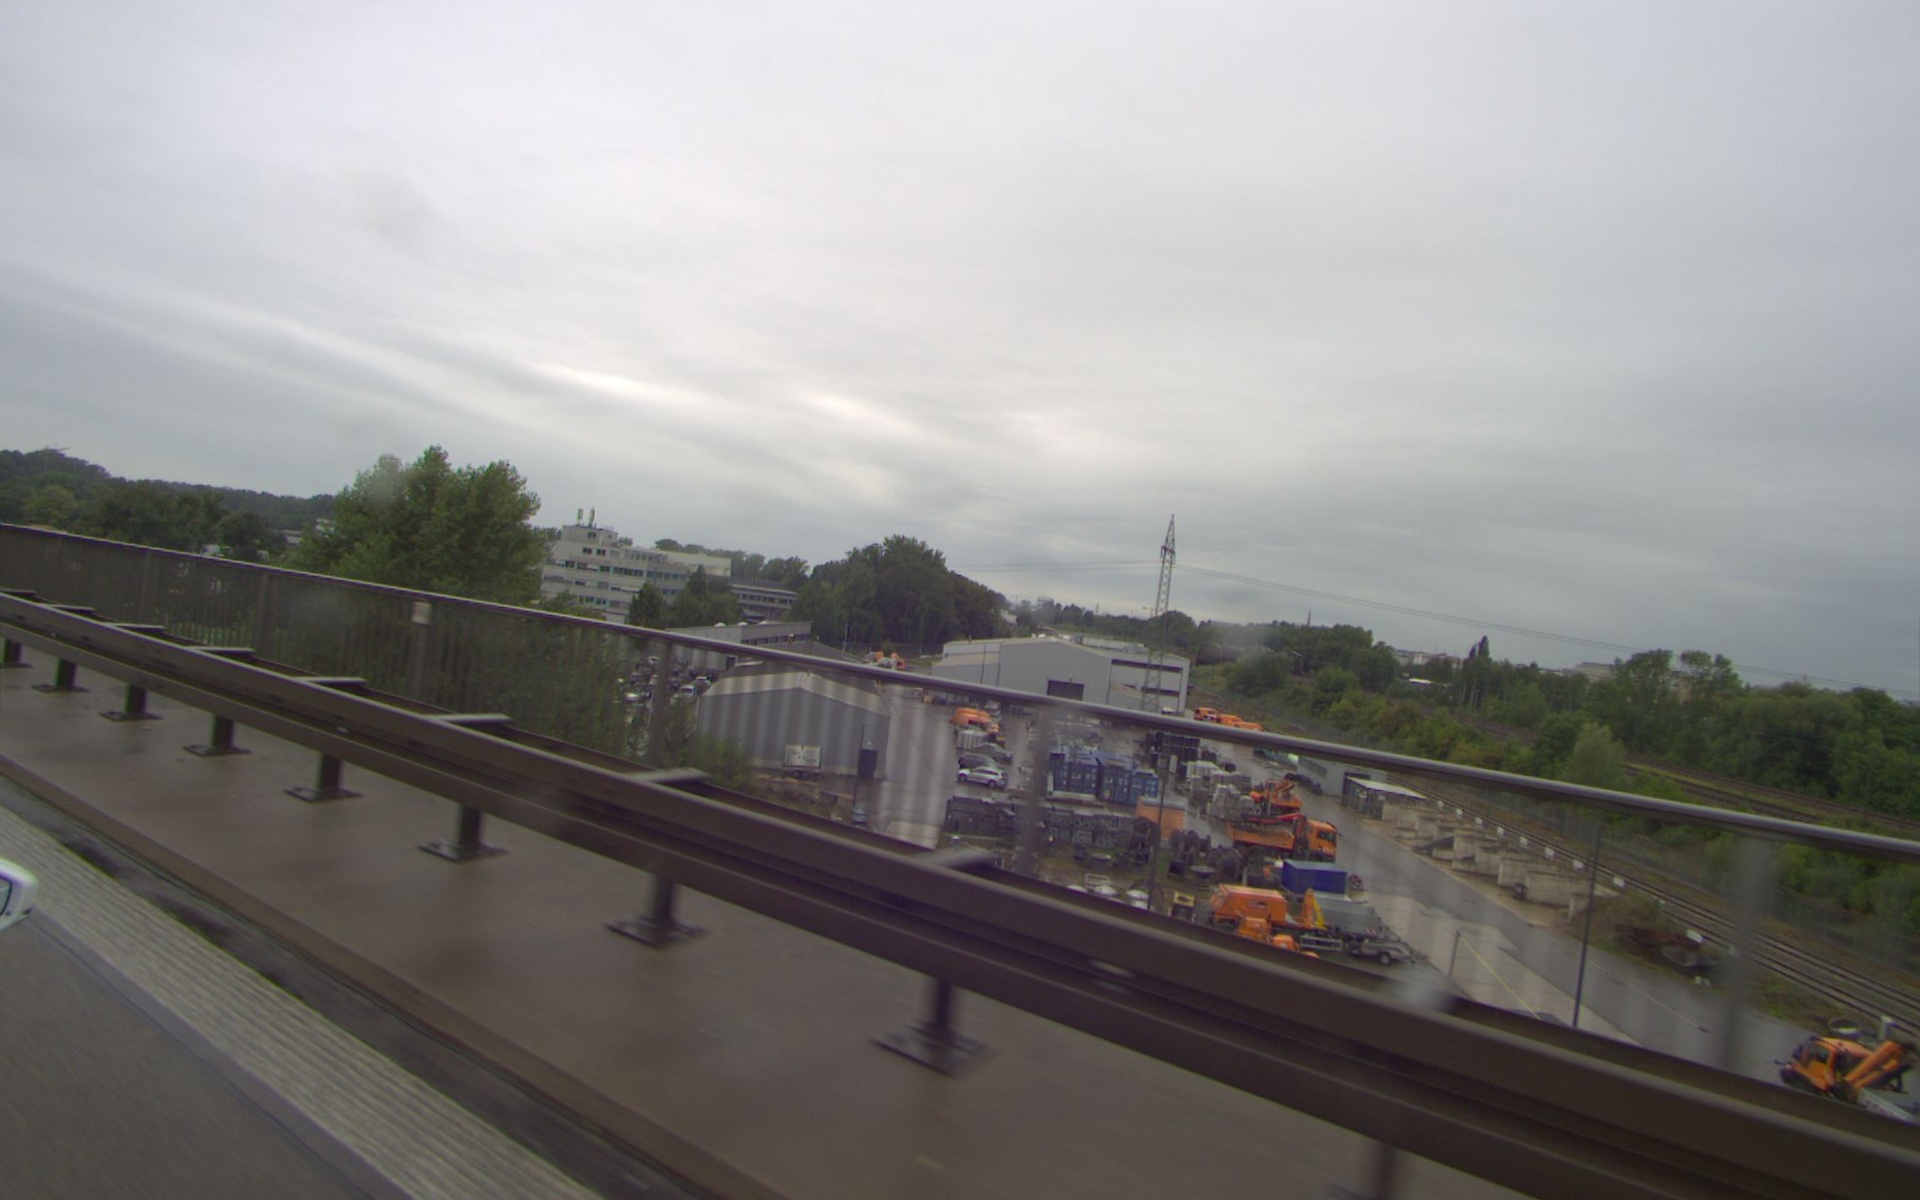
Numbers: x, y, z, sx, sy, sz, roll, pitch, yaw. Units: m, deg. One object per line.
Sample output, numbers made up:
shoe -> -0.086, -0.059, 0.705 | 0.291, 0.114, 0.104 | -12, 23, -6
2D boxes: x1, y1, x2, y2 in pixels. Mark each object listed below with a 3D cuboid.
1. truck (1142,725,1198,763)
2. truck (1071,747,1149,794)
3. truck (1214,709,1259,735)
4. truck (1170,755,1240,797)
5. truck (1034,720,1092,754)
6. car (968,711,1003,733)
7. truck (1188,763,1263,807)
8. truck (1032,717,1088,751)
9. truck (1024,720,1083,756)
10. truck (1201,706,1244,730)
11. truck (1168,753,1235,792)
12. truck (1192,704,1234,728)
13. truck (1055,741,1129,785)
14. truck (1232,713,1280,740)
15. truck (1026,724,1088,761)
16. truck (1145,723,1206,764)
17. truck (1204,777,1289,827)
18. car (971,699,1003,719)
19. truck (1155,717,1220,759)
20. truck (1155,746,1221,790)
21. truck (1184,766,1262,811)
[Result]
truck -> 27.410, 18.774, 131.320 | 6.468, 3.854, 2.105 | 7, -1, -1
truck -> 13.645, 15.540, 91.822 | 6.468, 3.221, 2.105 | 7, -1, -1
truck -> 44.512, 19.586, 161.830 | 6.486, 3.221, 2.100 | 8, -2, -14
truck -> 25.570, 18.366, 105.046 | 6.468, 3.221, 2.105 | 7, -1, -1
truck -> 12.607, 16.736, 123.117 | 6.468, 3.221, 2.105 | 7, -1, -1
car -> 3.178, 15.202, 125.604 | 3.928, 2.037, 2.001 | 7, -2, -3
truck -> 26.059, 18.171, 98.948 | 6.468, 3.221, 2.105 | 7, -1, -1
truck -> 12.600, 16.895, 126.867 | 6.468, 3.221, 2.105 | 7, -1, -1
truck -> 11.159, 16.410, 119.934 | 6.468, 3.221, 2.105 | 7, -1, -1
truck -> 44.516, 19.955, 170.489 | 6.486, 3.221, 2.100 | 8, -2, -14
truck -> 26.221, 18.744, 109.480 | 6.468, 3.221, 2.105 | 7, -1, -1
truck -> 43.766, 20.107, 174.116 | 6.486, 3.221, 2.100 | 8, -2, -14
truck -> 12.650, 15.624, 96.635 | 6.468, 3.221, 2.105 | 7, -1, -1
truck -> 44.880, 19.188, 152.598 | 6.486, 3.221, 2.100 | 8, -2, -14
truck -> 11.003, 16.153, 114.387 | 6.468, 3.221, 2.105 | 7, -1, -1
truck -> 25.776, 17.223, 120.640 | 6.468, 3.854, 2.105 | 7, -1, -1
truck -> 24.853, 17.515, 87.300 | 6.468, 3.221, 2.105 | 7, -1, -1
car -> 3.592, 14.386, 133.335 | 3.928, 2.037, 2.001 | 7, -2, -3
truck -> 25.984, 15.756, 114.971 | 6.468, 3.854, 2.105 | 7, -1, -1
truck -> 25.535, 18.740, 112.681 | 6.468, 3.854, 2.105 | 7, -1, -1
truck -> 24.930, 17.875, 95.515 | 6.468, 3.221, 2.105 | 7, -1, -1
